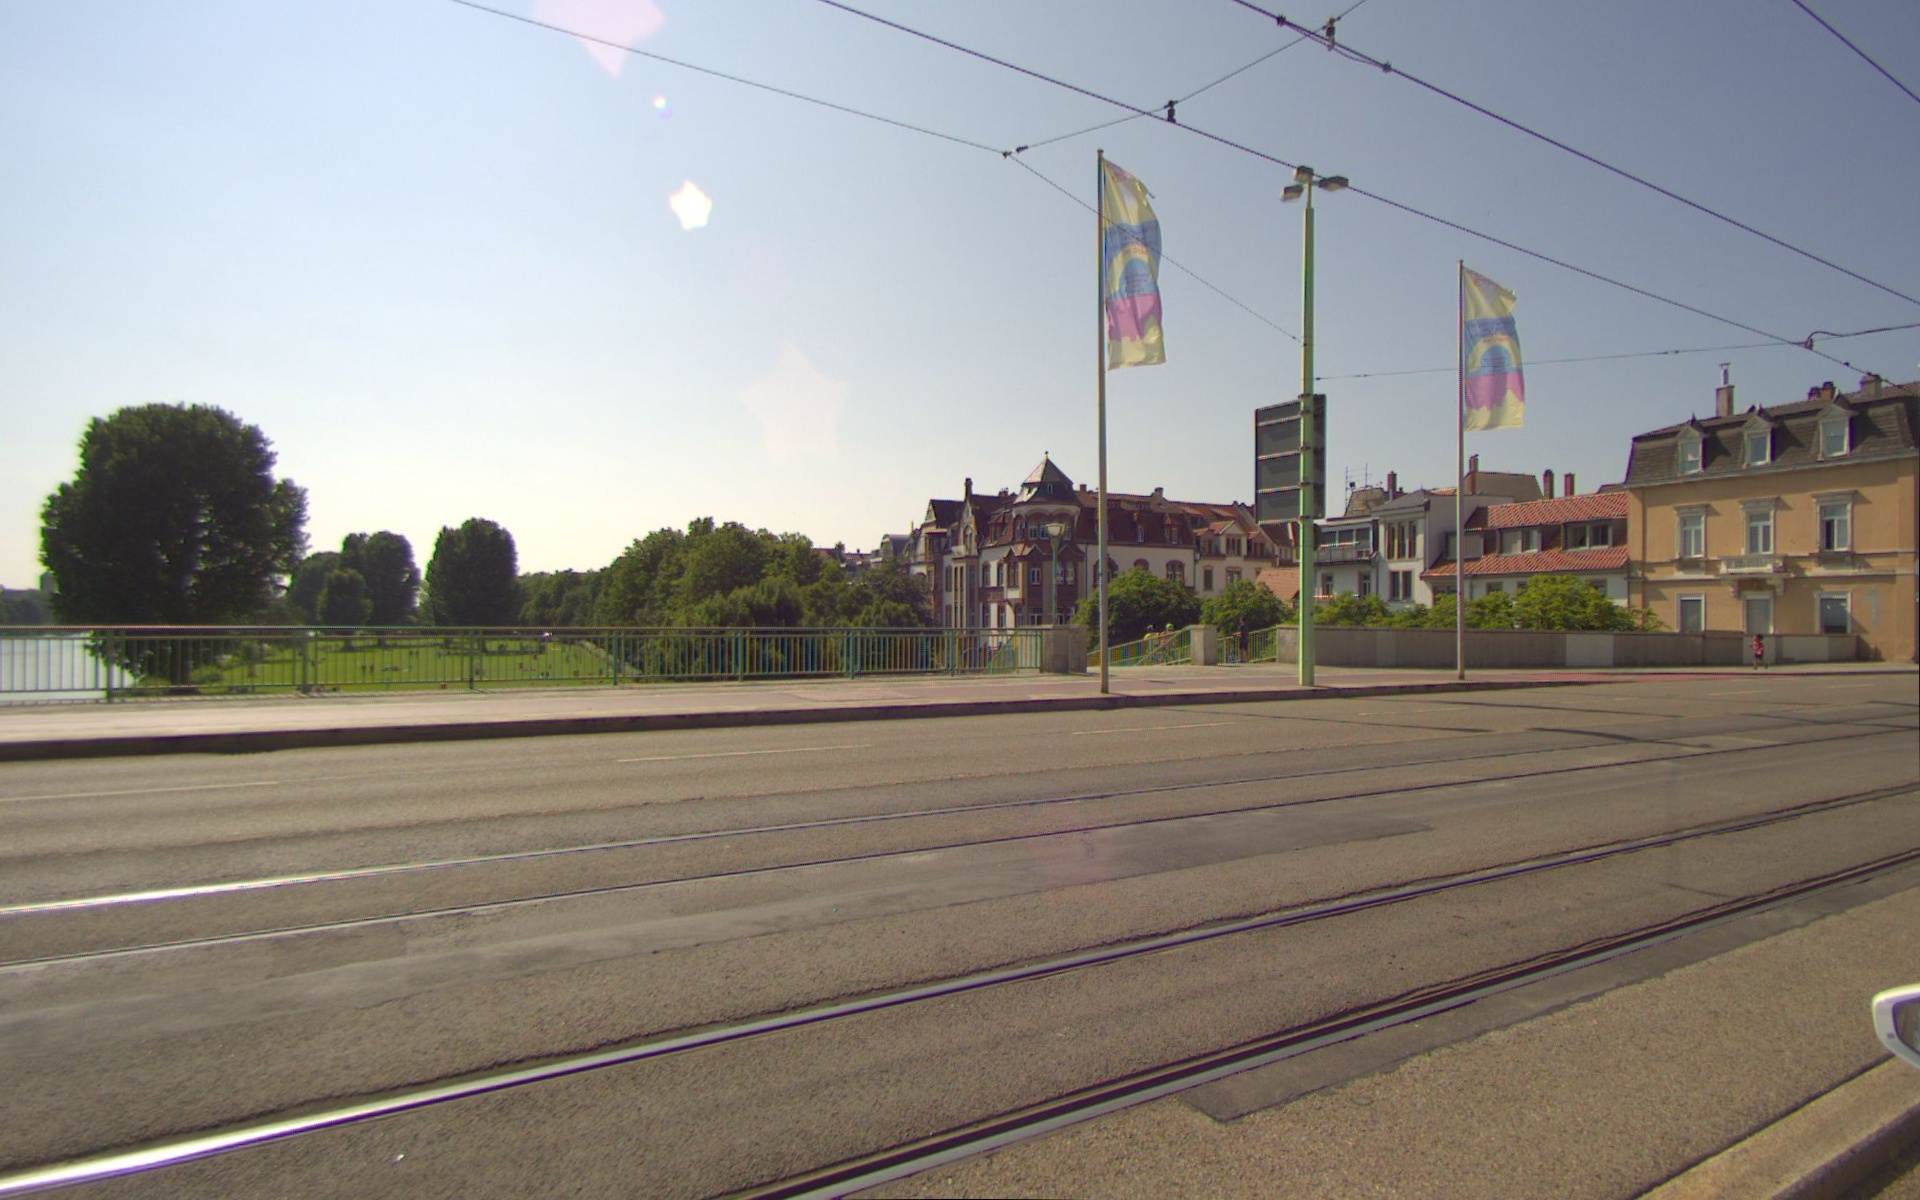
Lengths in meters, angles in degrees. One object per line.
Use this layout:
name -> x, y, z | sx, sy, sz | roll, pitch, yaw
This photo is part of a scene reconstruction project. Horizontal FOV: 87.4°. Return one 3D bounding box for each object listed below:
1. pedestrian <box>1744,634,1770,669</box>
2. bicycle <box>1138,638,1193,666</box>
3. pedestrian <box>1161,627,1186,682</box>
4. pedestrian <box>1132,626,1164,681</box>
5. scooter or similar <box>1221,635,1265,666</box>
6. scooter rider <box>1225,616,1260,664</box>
pedestrian -> 26.800, 1.729, 33.784 | 0.537, 1.161, 0.411 | 2, 3, -23
bicycle -> 6.276, 1.568, 30.775 | 0.614, 0.726, 1.920 | 0, 1, -27
pedestrian -> 6.559, 1.675, 30.911 | 0.408, 1.654, 0.623 | 1, 1, -28
pedestrian -> 6.252, 1.783, 33.464 | 0.790, 1.804, 0.743 | 1, -1, -24
scooter or similar -> 8.299, 1.477, 29.448 | 0.945, 0.793, 0.779 | 2, 3, -19
scooter rider -> 8.303, 1.168, 29.501 | 0.589, 1.333, 0.767 | 2, 3, -18
